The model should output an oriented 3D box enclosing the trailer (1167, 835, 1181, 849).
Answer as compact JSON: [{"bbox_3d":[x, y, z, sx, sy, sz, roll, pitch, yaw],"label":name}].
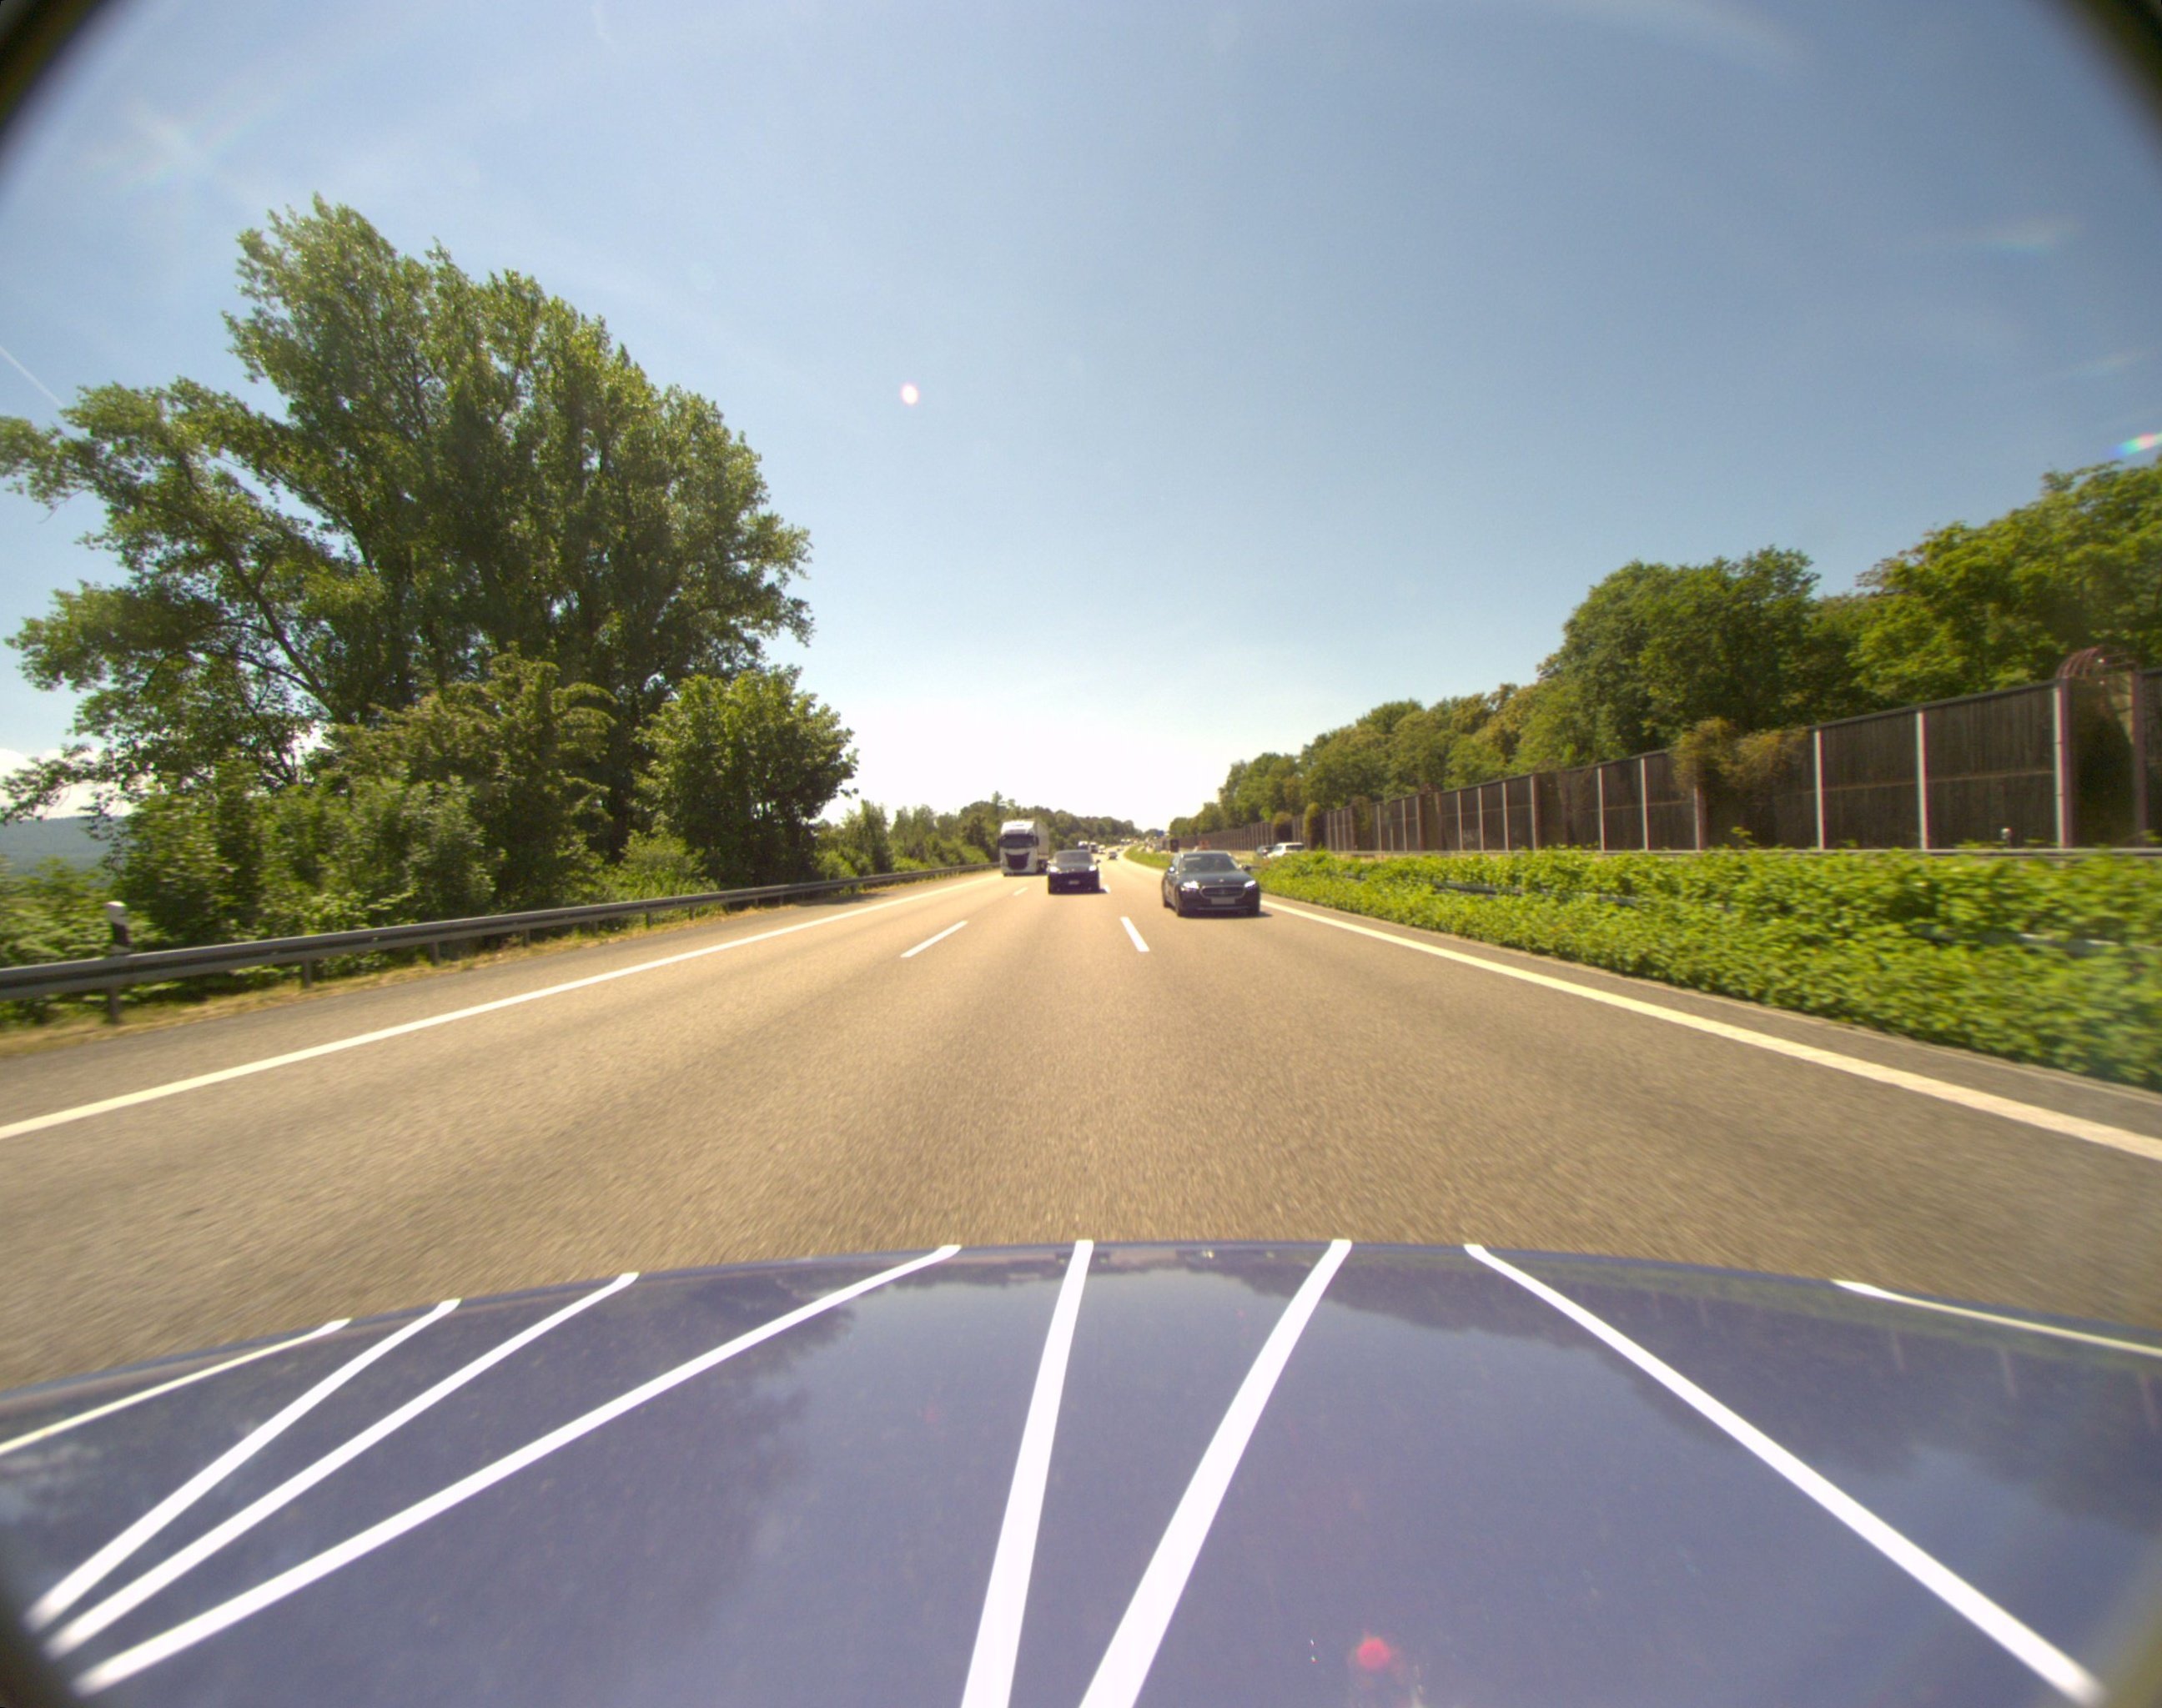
[{"bbox_3d":[27.257,-3.560,223.394,2.905,4.069,13.332,-2,1,2],"label":"trailer"}]

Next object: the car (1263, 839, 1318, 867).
[{"bbox_3d":[13.189,-0.081,48.136,1.999,1.638,5.044,-2,0,-1],"label":"car"}]

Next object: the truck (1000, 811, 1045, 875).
[{"bbox_3d":[-4.292,-0.813,56.935,2.541,4.446,5.572,-2,1,2],"label":"truck"}]

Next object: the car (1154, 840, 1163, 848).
[{"bbox_3d":[24.107,-3.076,236.179,2.170,2.526,6.789,-3,0,2],"label":"car"}]

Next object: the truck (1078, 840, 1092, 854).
[{"bbox_3d":[1.280,-1.929,208.977,3.073,3.618,12.402,-2,1,3],"label":"truck"}]

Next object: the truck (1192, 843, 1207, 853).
[{"bbox_3d":[23.426,-1.184,150.075,2.106,1.805,6.211,-2,1,2],"label":"truck"}]

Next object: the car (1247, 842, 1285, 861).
[{"bbox_3d":[16.527,-0.219,68.097,1.999,1.638,4.691,-2,0,-3],"label":"car"}]

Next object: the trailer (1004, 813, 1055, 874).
[{"bbox_3d":[-4.064,-0.895,63.552,2.541,4.446,14.160,-2,1,3],"label":"trailer"}]

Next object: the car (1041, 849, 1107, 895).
[{"bbox_3d":[-0.163,0.640,30.814,2.048,1.616,5.773,-2,1,5],"label":"car"}]

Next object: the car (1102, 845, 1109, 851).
[{"bbox_3d":[7.592,-1.994,238.083,1.909,1.717,4.871,-2,1,3],"label":"car"}]

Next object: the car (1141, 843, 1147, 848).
[{"bbox_3d":[21.829,-3.037,263.113,2.000,1.710,5.024,-3,0,2],"label":"car"}]

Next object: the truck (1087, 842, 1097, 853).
[{"bbox_3d":[3.840,-2.297,263.859,3.073,3.618,12.402,-2,1,3],"label":"truck"}]

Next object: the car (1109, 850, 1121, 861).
[{"bbox_3d":[5.861,0.291,130.473,1.909,1.717,4.376,-2,1,3],"label":"car"}]

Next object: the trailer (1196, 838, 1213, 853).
[{"bbox_3d":[23.249,-1.617,143.732,2.248,2.760,6.509,-2,1,2],"label":"trailer"}]

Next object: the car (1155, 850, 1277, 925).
[{"bbox_3d":[3.149,0.697,19.045,1.948,1.498,5.820,-2,1,0],"label":"car"}]
